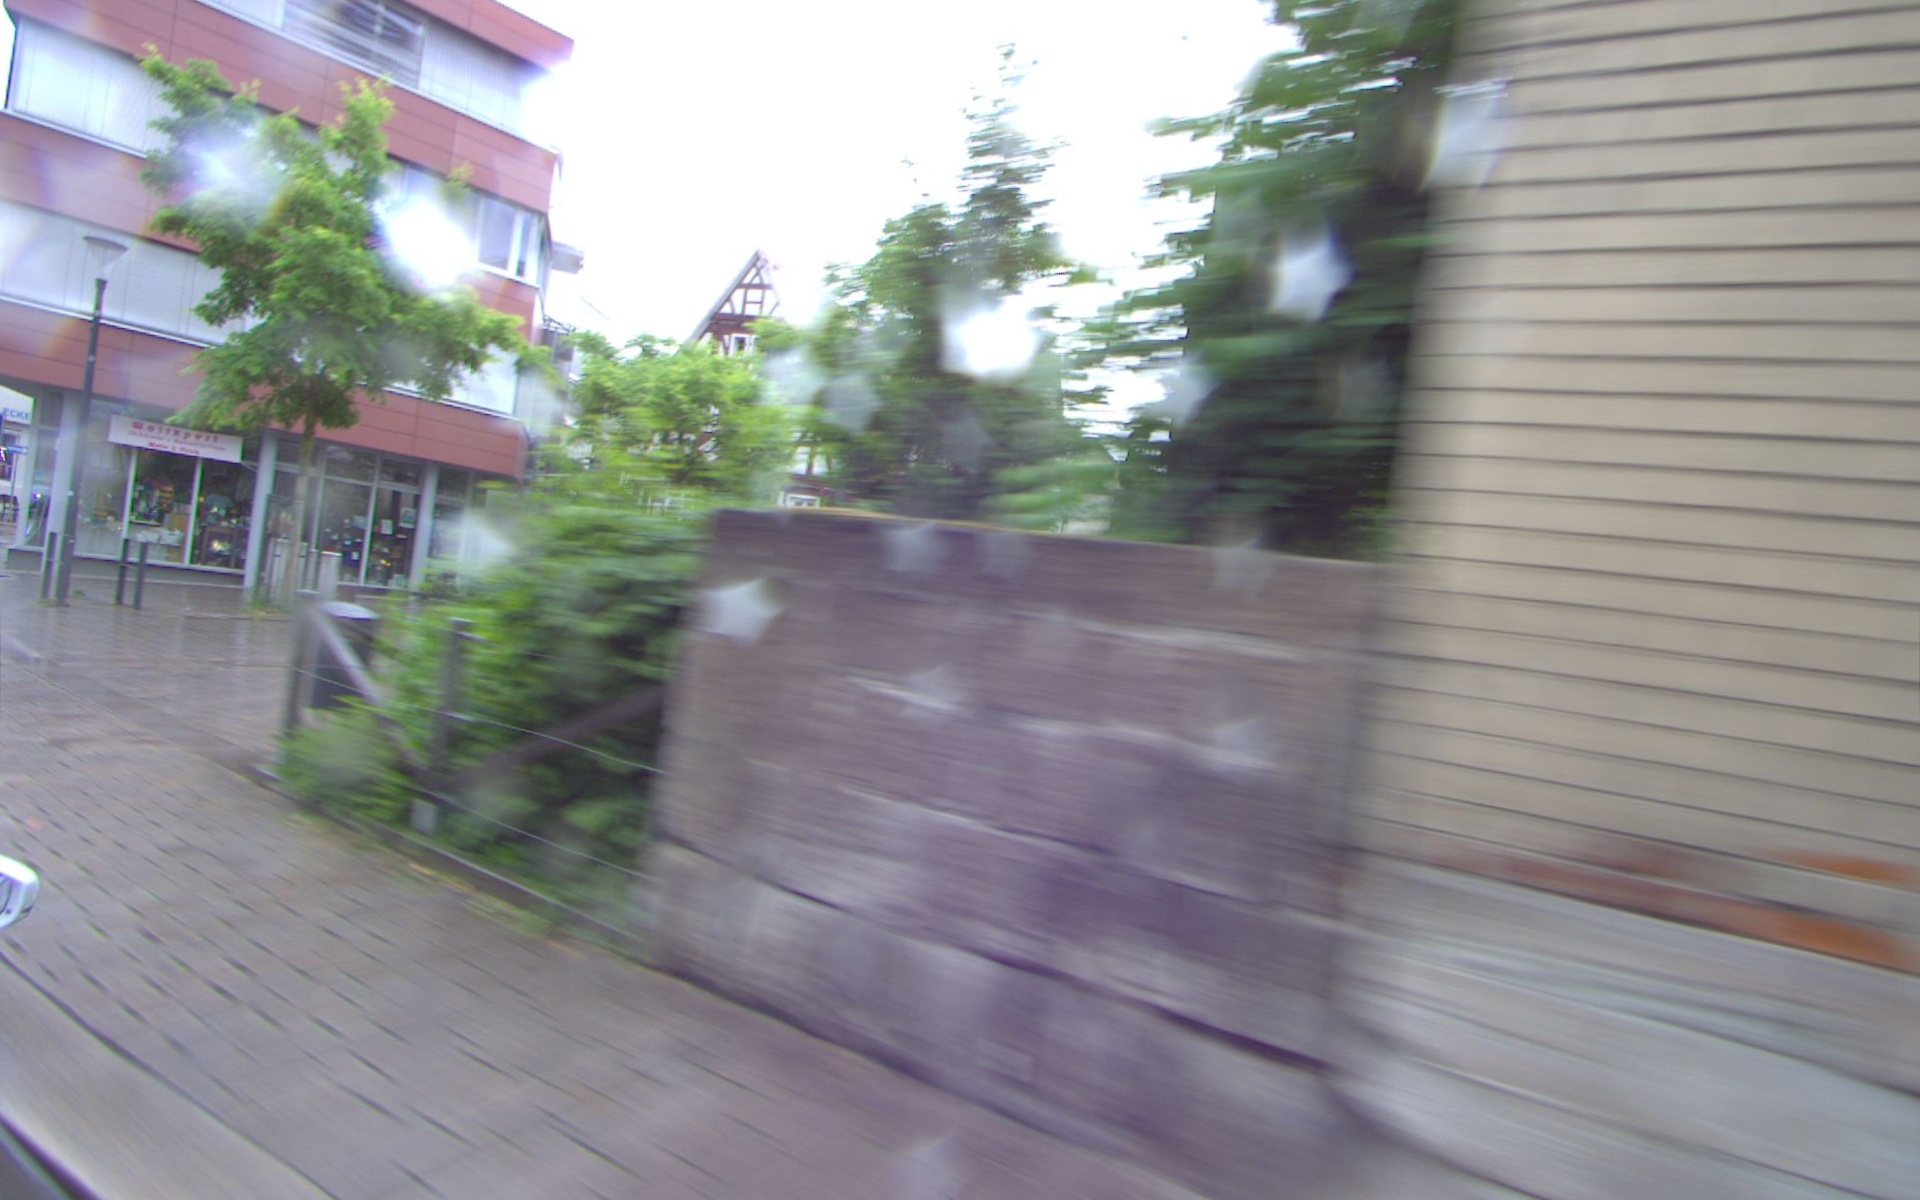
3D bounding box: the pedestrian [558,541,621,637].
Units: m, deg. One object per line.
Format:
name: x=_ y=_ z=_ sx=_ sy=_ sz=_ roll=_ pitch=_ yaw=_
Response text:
pedestrian: x=-7.467 y=-0.218 z=20.294 sx=0.841 sy=1.808 sz=0.699 roll=5 pitch=3 yaw=-42
